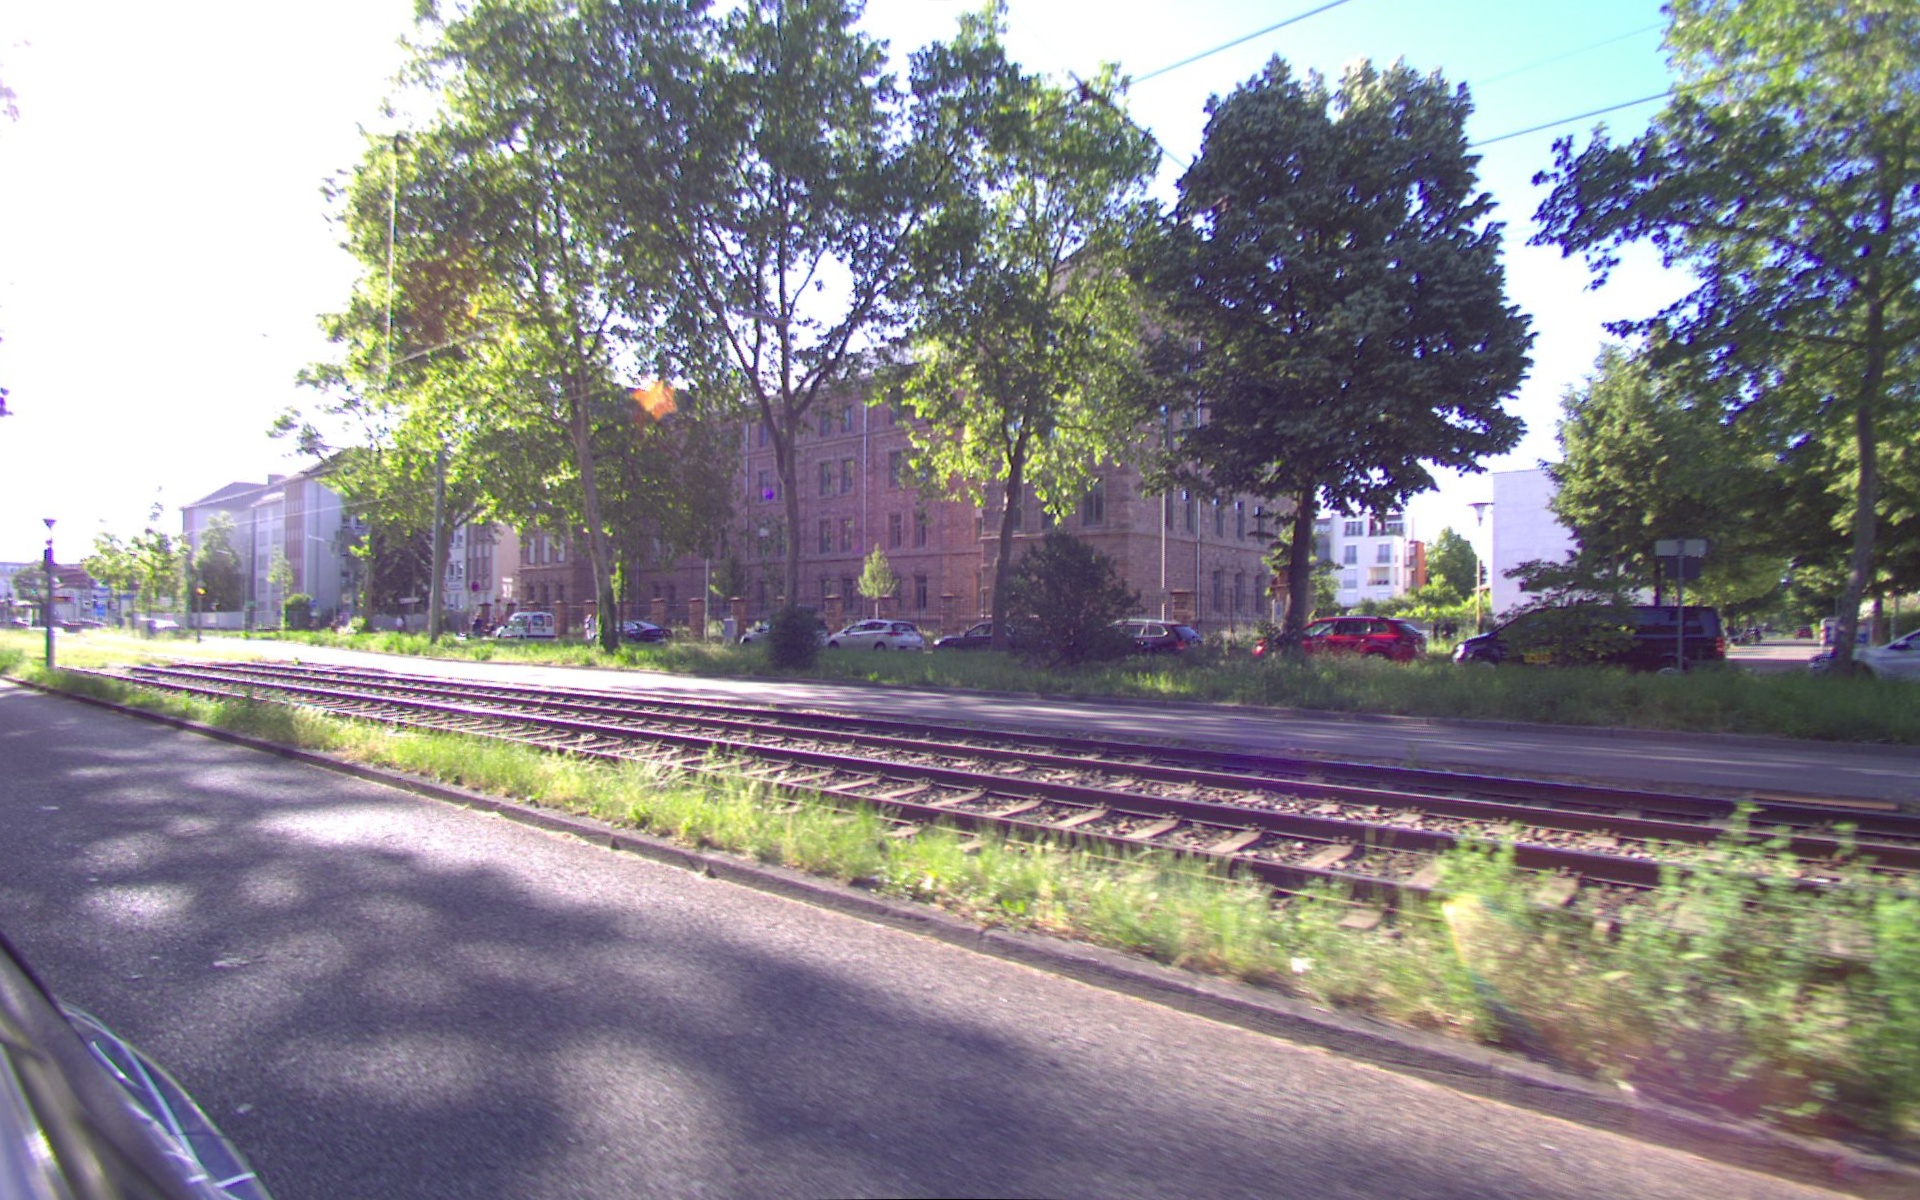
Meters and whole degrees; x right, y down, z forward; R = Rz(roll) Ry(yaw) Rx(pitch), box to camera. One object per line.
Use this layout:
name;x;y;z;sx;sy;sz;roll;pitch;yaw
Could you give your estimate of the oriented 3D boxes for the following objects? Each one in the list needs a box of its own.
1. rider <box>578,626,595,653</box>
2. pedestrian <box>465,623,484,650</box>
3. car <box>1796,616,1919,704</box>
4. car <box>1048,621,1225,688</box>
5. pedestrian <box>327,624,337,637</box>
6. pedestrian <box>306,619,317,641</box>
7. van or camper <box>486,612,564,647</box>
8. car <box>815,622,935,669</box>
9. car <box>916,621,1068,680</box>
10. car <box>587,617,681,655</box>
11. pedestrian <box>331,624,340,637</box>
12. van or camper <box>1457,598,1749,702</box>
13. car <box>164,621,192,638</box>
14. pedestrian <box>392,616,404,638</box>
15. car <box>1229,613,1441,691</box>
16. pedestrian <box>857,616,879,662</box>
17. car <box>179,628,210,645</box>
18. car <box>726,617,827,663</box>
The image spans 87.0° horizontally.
rider;-23.063;2.417;62.444;0.685;1.657;0.721;-2;-3;40
pedestrian;-34.366;2.565;71.601;0.941;1.914;0.891;-2;-3;41
car;18.897;1.137;18.644;2.002;1.611;5.097;4;-4;-40
car;5.129;1.571;29.788;4.732;1.823;2.088;-2;-3;39
pedestrian;-51.849;2.525;83.509;0.478;1.108;0.580;-2;-3;39
pedestrian;-59.519;2.747;92.889;0.859;2.029;0.656;-2;-2;39
van or camper;-23.210;1.563;53.960;4.426;1.801;1.974;-1;-3;38
car;-3.170;1.643;36.991;4.421;1.628;1.971;-2;-3;44
car;1.011;1.634;33.302;4.733;1.823;2.088;-2;-3;39
car;-15.191;1.678;47.056;4.824;1.662;1.973;-2;-3;41
pedestrian;-51.300;2.499;83.090;0.586;1.108;0.440;-2;-3;35
van or camper;14.098;1.033;22.387;5.212;2.029;2.243;-1;-2;40
car;-77.831;2.906;100.713;1.745;1.635;4.479;1;-2;-44
pedestrian;-47.557;2.307;85.676;0.572;1.851;0.686;-2;-2;39
car;9.600;1.307;26.113;4.733;1.823;2.088;-2;-3;39
pedestrian;-4.082;1.738;44.960;0.625;2.029;0.707;-2;-3;40
car;-81.023;3.875;107.108;4.150;1.720;1.971;-2;-2;44
car;-7.394;1.591;40.501;4.421;1.732;1.748;-2;-3;44
